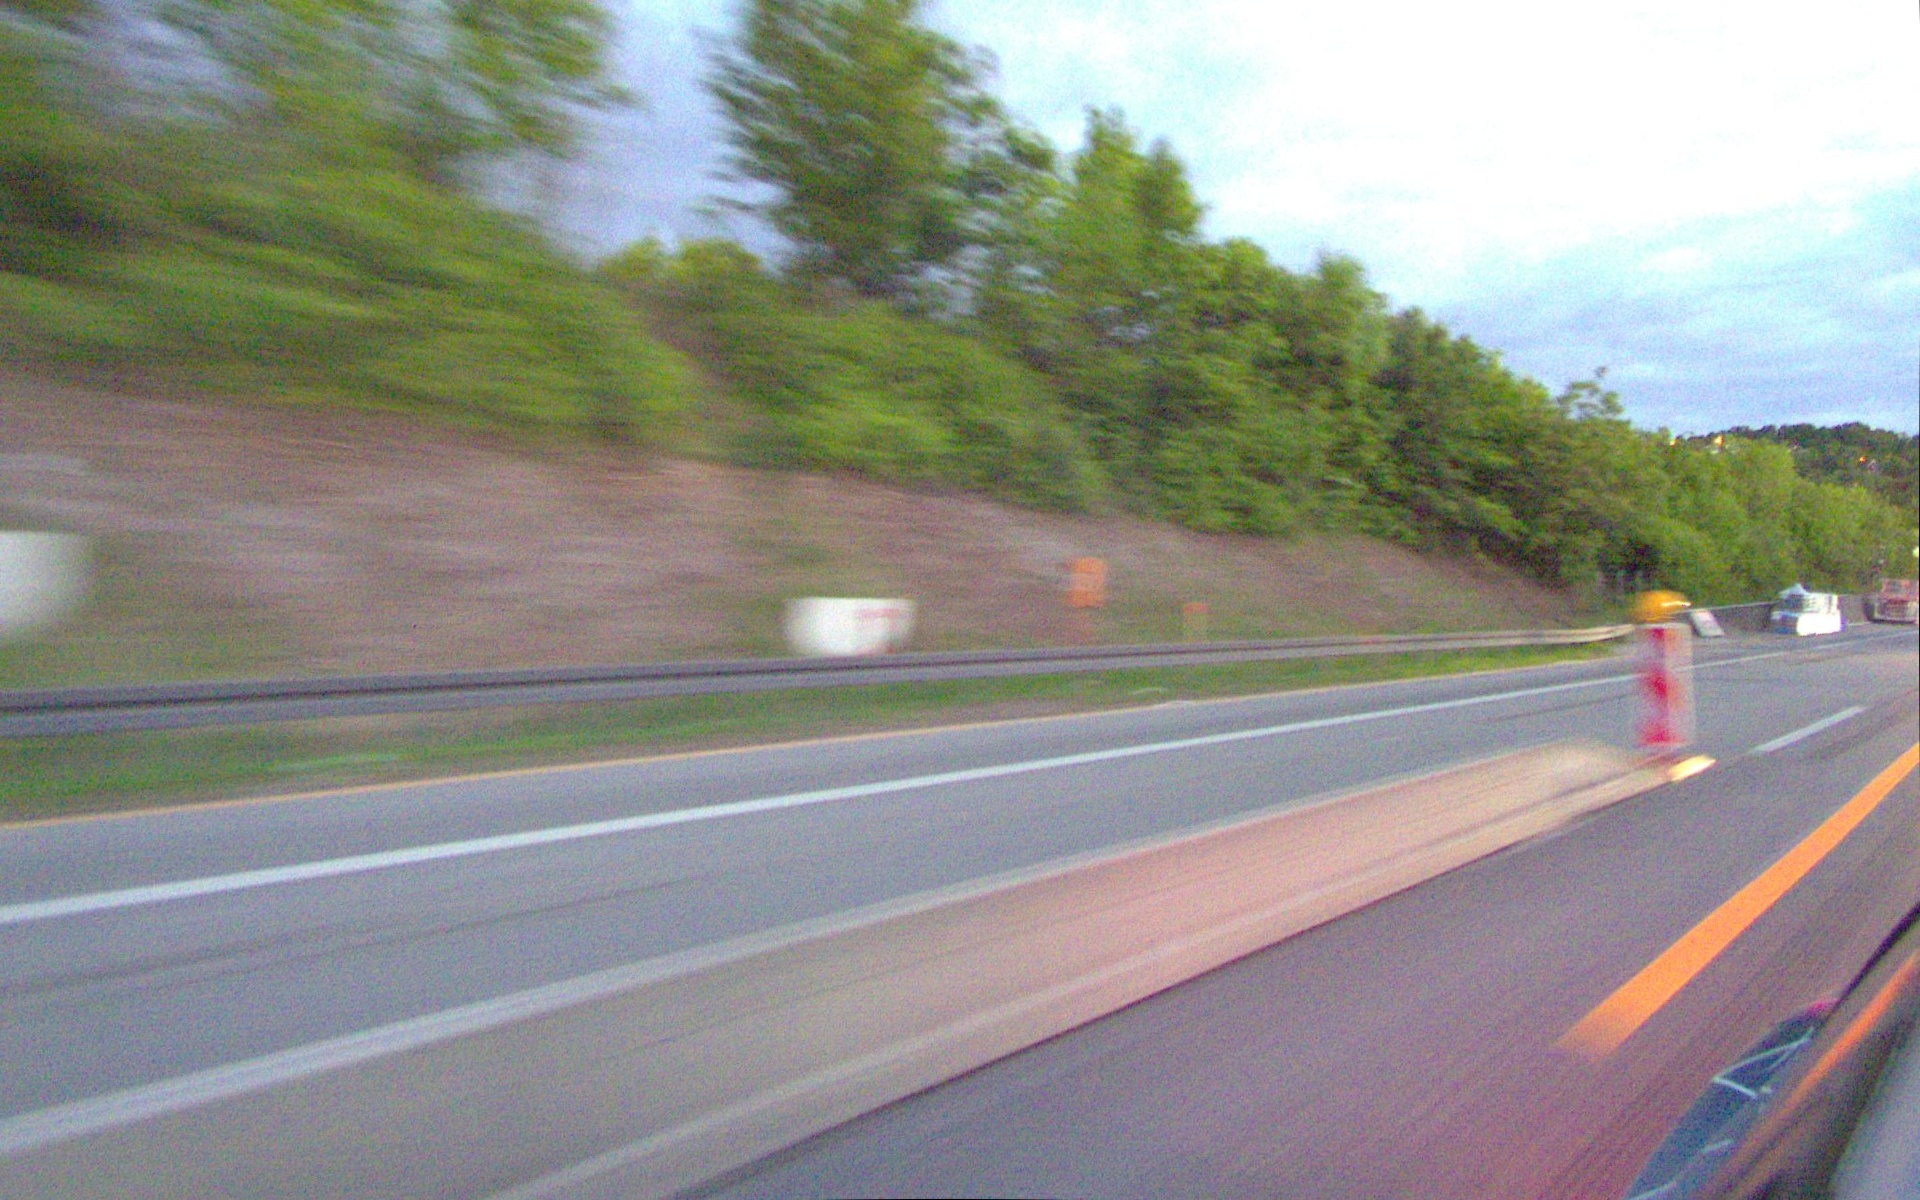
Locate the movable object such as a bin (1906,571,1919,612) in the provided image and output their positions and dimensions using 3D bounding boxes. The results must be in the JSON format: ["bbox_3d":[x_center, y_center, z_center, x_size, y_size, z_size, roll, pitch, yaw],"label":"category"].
[{"bbox_3d":[80.465,-0.710,83.863,5.485,3.359,2.567,-1,2,-43],"label":"movable object such as a bin"}]

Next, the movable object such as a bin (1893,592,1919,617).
[{"bbox_3d":[67.374,0.303,71.340,4.015,1.621,1.997,-1,3,-42],"label":"movable object such as a bin"}]

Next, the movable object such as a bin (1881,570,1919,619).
[{"bbox_3d":[63.904,-0.405,67.910,5.708,3.147,2.624,-1,1,-43],"label":"movable object such as a bin"}]
